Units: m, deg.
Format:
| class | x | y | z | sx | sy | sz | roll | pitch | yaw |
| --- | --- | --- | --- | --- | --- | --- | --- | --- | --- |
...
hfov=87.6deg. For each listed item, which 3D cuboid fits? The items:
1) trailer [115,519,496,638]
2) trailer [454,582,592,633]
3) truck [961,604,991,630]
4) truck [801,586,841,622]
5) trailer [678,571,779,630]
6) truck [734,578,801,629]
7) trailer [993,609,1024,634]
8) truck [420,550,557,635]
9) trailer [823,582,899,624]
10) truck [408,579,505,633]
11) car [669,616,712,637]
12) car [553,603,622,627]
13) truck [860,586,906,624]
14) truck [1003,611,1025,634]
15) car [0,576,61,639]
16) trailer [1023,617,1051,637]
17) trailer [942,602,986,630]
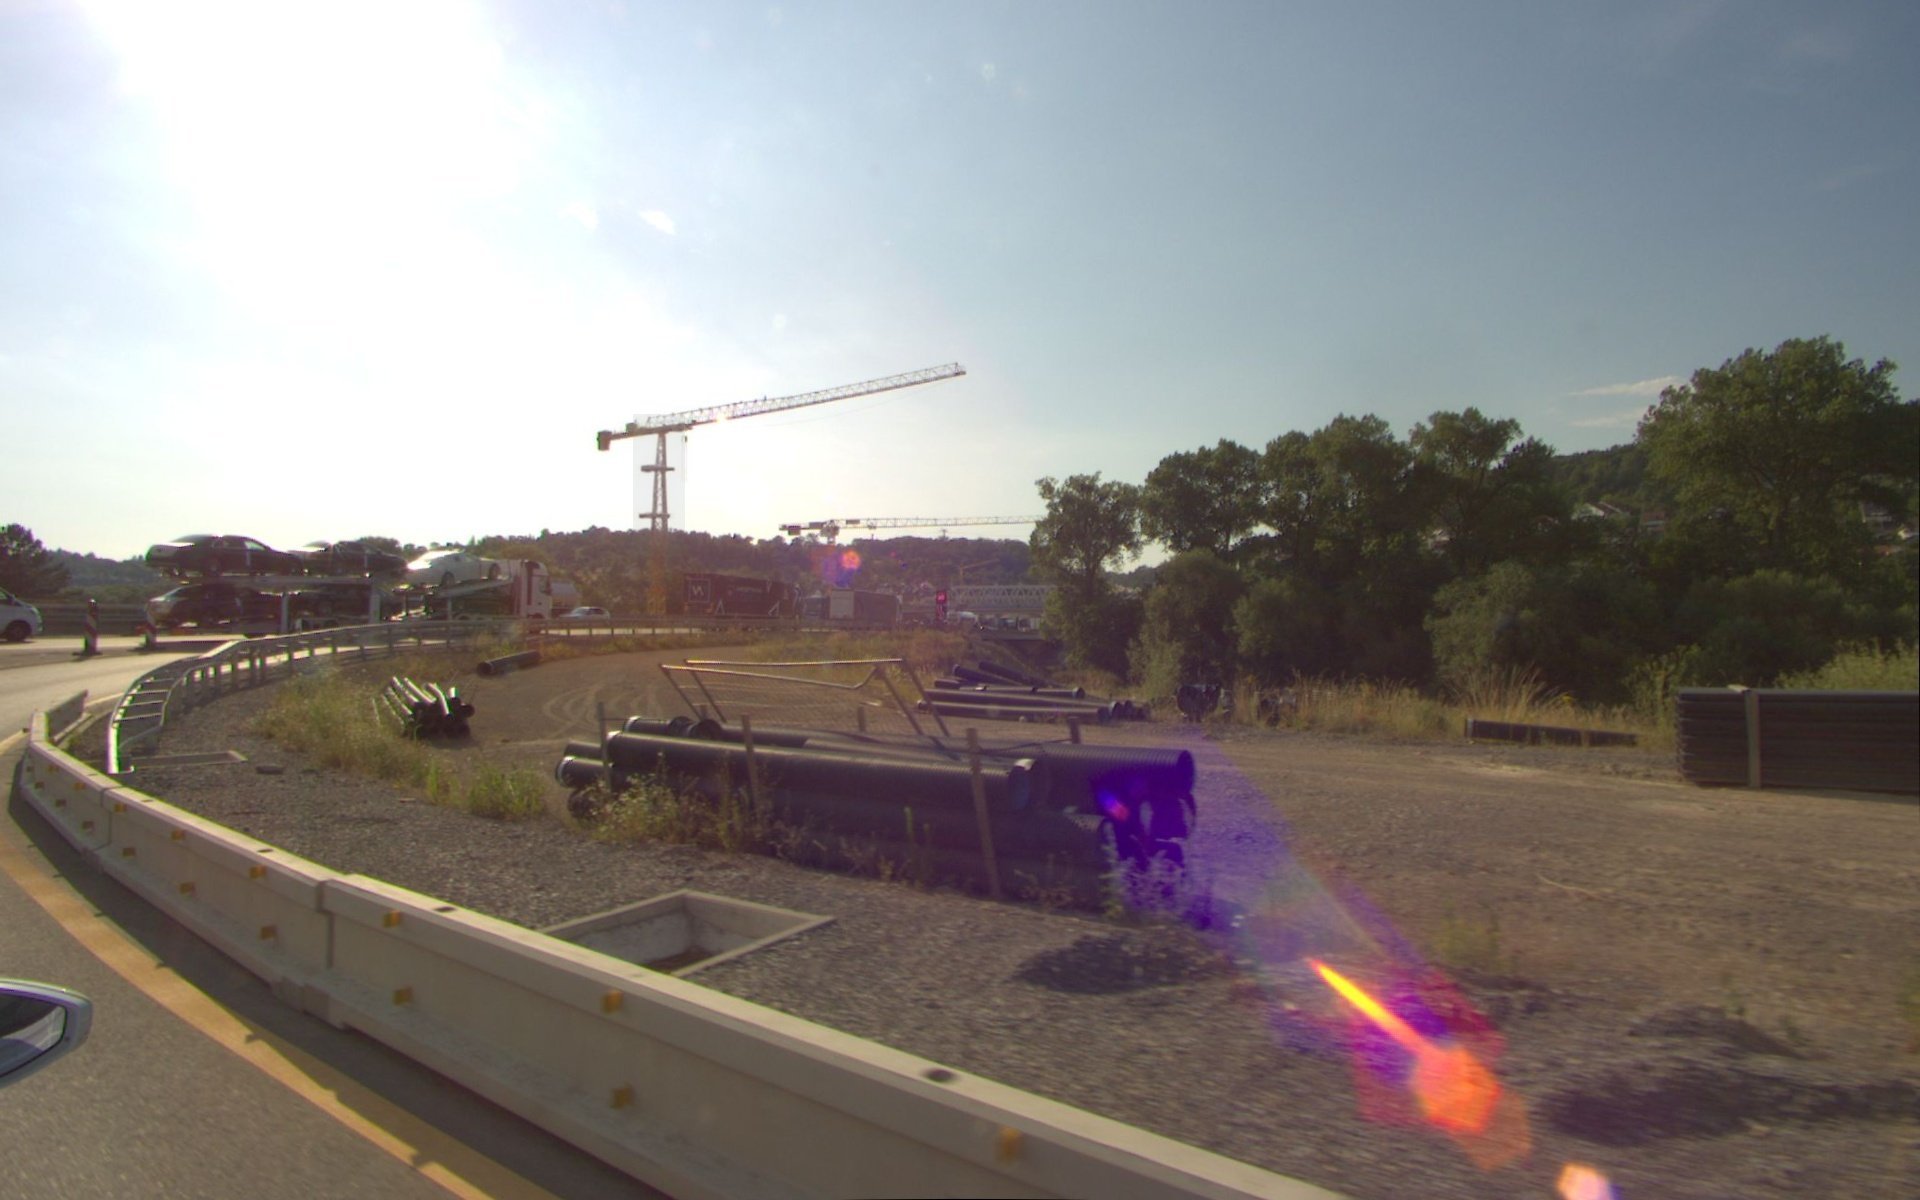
| class | x | y | z | sx | sy | sz | roll | pitch | yaw |
| --- | --- | --- | --- | --- | --- | --- | --- | --- | --- |
| trailer | -26.088 | -0.518 | 42.061 | 2.813 | 4.047 | 15.738 | 0 | -2 | 13 |
| trailer | -29.483 | 0.638 | 68.328 | 2.108 | 3.174 | 10.970 | -1 | -2 | 16 |
| truck | 2.628 | 2.722 | 158.132 | 3.338 | 4.048 | 6.621 | 0 | -1 | 13 |
| truck | -16.634 | 0.582 | 119.972 | 2.587 | 4.118 | 6.126 | -1 | -2 | 14 |
| trailer | -17.461 | 0.177 | 76.650 | 2.914 | 4.144 | 10.786 | 0 | -2 | 15 |
| truck | -15.846 | 0.350 | 82.905 | 2.841 | 4.048 | 6.620 | 0 | -1 | 15 |
| trailer | 9.163 | 4.111 | 187.448 | 3.055 | 4.369 | 14.244 | 0 | -2 | 13 |
| truck | -23.915 | -0.264 | 51.198 | 2.804 | 4.048 | 6.621 | 0 | -1 | 13 |
| trailer | -10.210 | 0.441 | 105.905 | 3.332 | 4.047 | 14.737 | 0 | -2 | 13 |
| truck | -31.264 | 0.427 | 62.405 | 2.109 | 3.174 | 5.681 | -1 | -2 | 17 |
| car | -21.668 | 2.153 | 80.644 | 1.801 | 1.675 | 3.999 | -1 | -2 | 11 |
| car | -25.999 | 1.050 | 70.082 | 1.997 | 1.520 | 4.975 | 2 | -1 | 14 |
| truck | -8.590 | 0.608 | 112.633 | 3.291 | 4.048 | 6.621 | 0 | -1 | 13 |
| truck | 10.544 | 4.280 | 193.325 | 3.050 | 4.340 | 6.621 | 0 | -1 | 13 |
| car | -32.014 | 0.199 | 31.695 | 1.997 | 2.007 | 4.975 | 2 | -1 | 14 |
| trailer | 17.273 | 5.993 | 223.820 | 4.033 | 4.369 | 14.244 | 0 | -2 | 13 |
| trailer | 0.794 | 2.502 | 150.440 | 3.332 | 4.047 | 14.737 | 0 | -2 | 13 |
